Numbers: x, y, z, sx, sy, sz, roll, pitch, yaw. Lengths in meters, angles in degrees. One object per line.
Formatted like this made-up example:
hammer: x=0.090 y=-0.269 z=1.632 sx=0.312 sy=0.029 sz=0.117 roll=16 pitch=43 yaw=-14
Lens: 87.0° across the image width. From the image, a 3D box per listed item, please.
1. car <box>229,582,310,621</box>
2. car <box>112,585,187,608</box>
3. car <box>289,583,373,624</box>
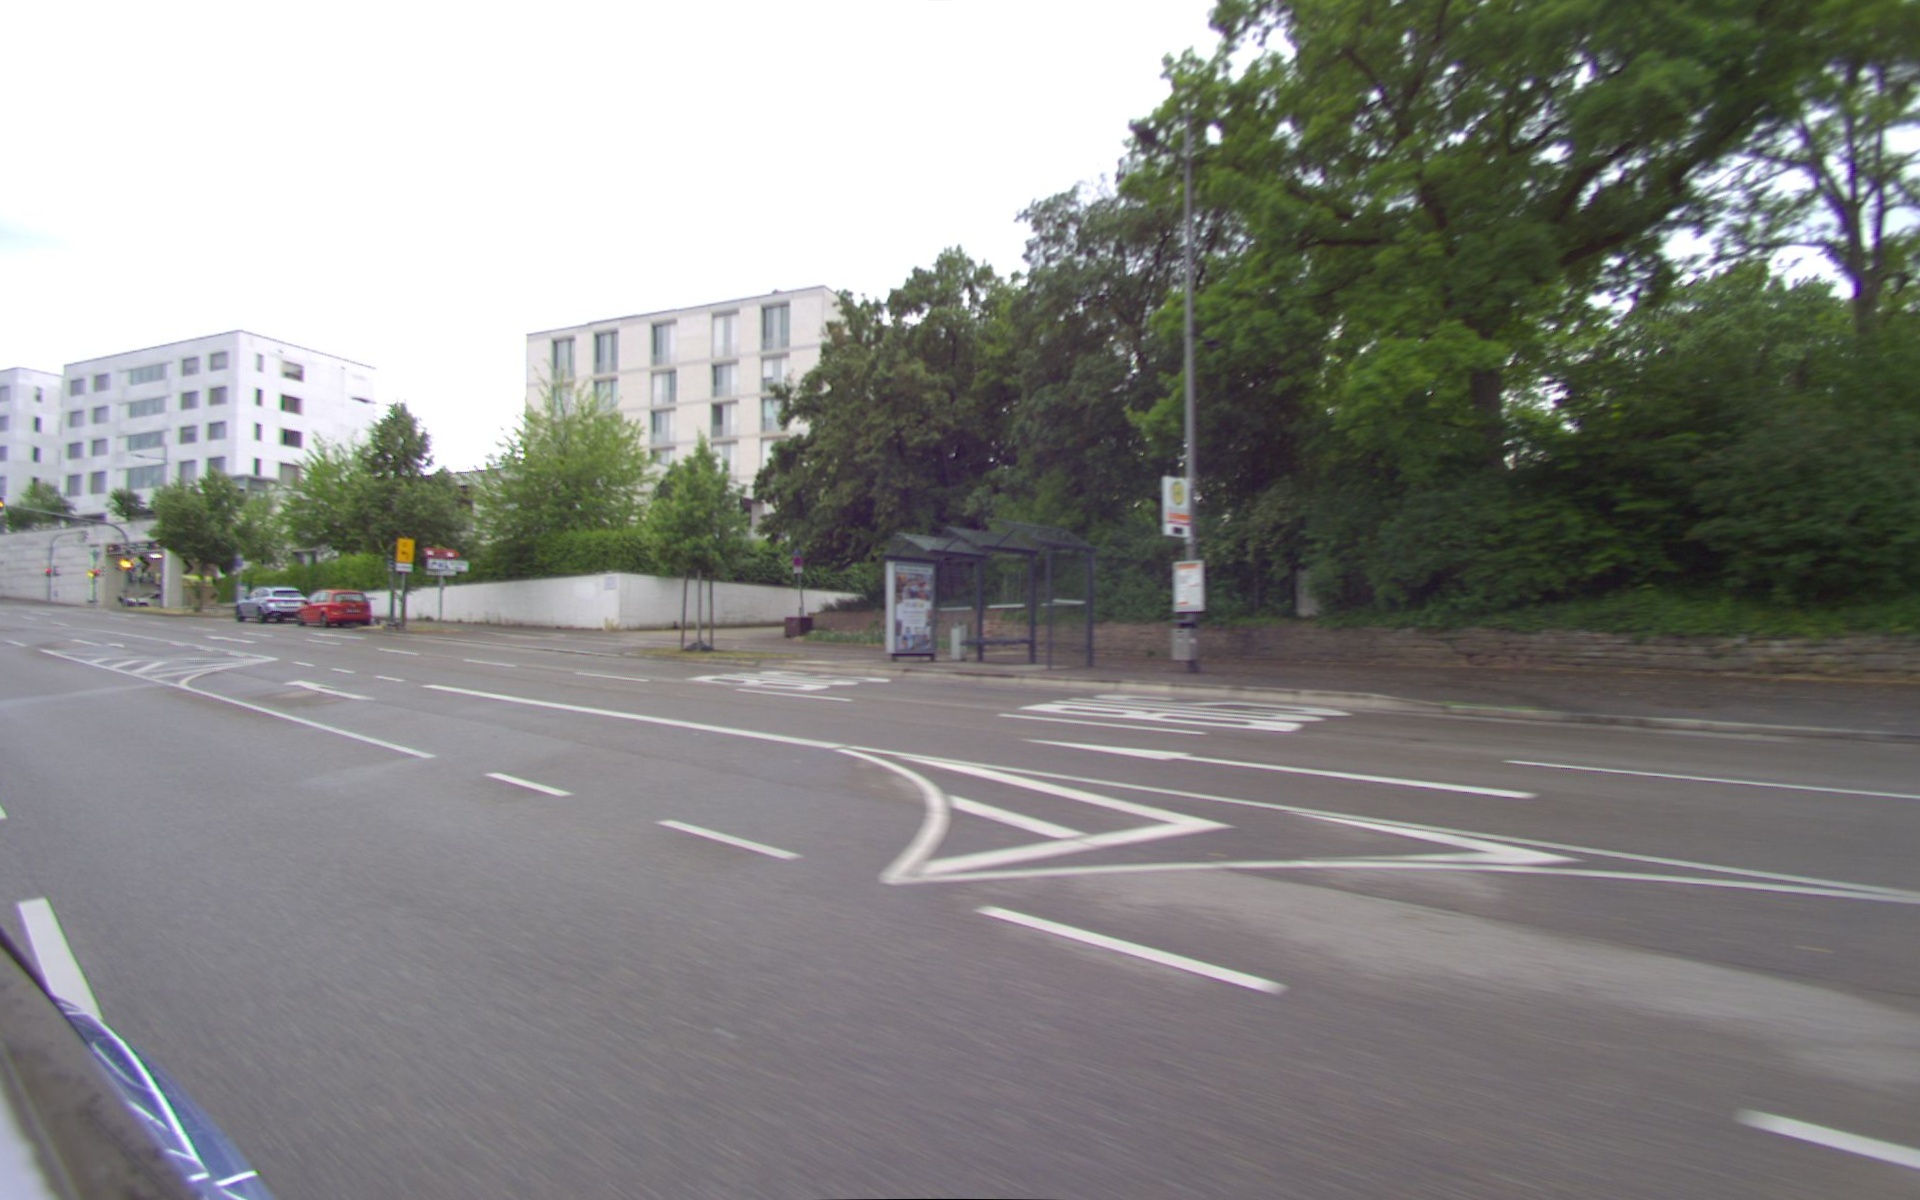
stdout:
car: x=-32.070 y=0.030 z=46.980 sx=4.878 sy=1.666 sz=1.747 roll=2 pitch=2 yaw=38
car: x=-65.756 y=-0.266 z=82.202 sx=1.985 sy=1.664 sz=4.317 roll=2 pitch=-1 yaw=20
car: x=-26.548 y=0.142 z=42.699 sx=4.212 sy=1.599 sz=1.649 roll=2 pitch=0 yaw=38
